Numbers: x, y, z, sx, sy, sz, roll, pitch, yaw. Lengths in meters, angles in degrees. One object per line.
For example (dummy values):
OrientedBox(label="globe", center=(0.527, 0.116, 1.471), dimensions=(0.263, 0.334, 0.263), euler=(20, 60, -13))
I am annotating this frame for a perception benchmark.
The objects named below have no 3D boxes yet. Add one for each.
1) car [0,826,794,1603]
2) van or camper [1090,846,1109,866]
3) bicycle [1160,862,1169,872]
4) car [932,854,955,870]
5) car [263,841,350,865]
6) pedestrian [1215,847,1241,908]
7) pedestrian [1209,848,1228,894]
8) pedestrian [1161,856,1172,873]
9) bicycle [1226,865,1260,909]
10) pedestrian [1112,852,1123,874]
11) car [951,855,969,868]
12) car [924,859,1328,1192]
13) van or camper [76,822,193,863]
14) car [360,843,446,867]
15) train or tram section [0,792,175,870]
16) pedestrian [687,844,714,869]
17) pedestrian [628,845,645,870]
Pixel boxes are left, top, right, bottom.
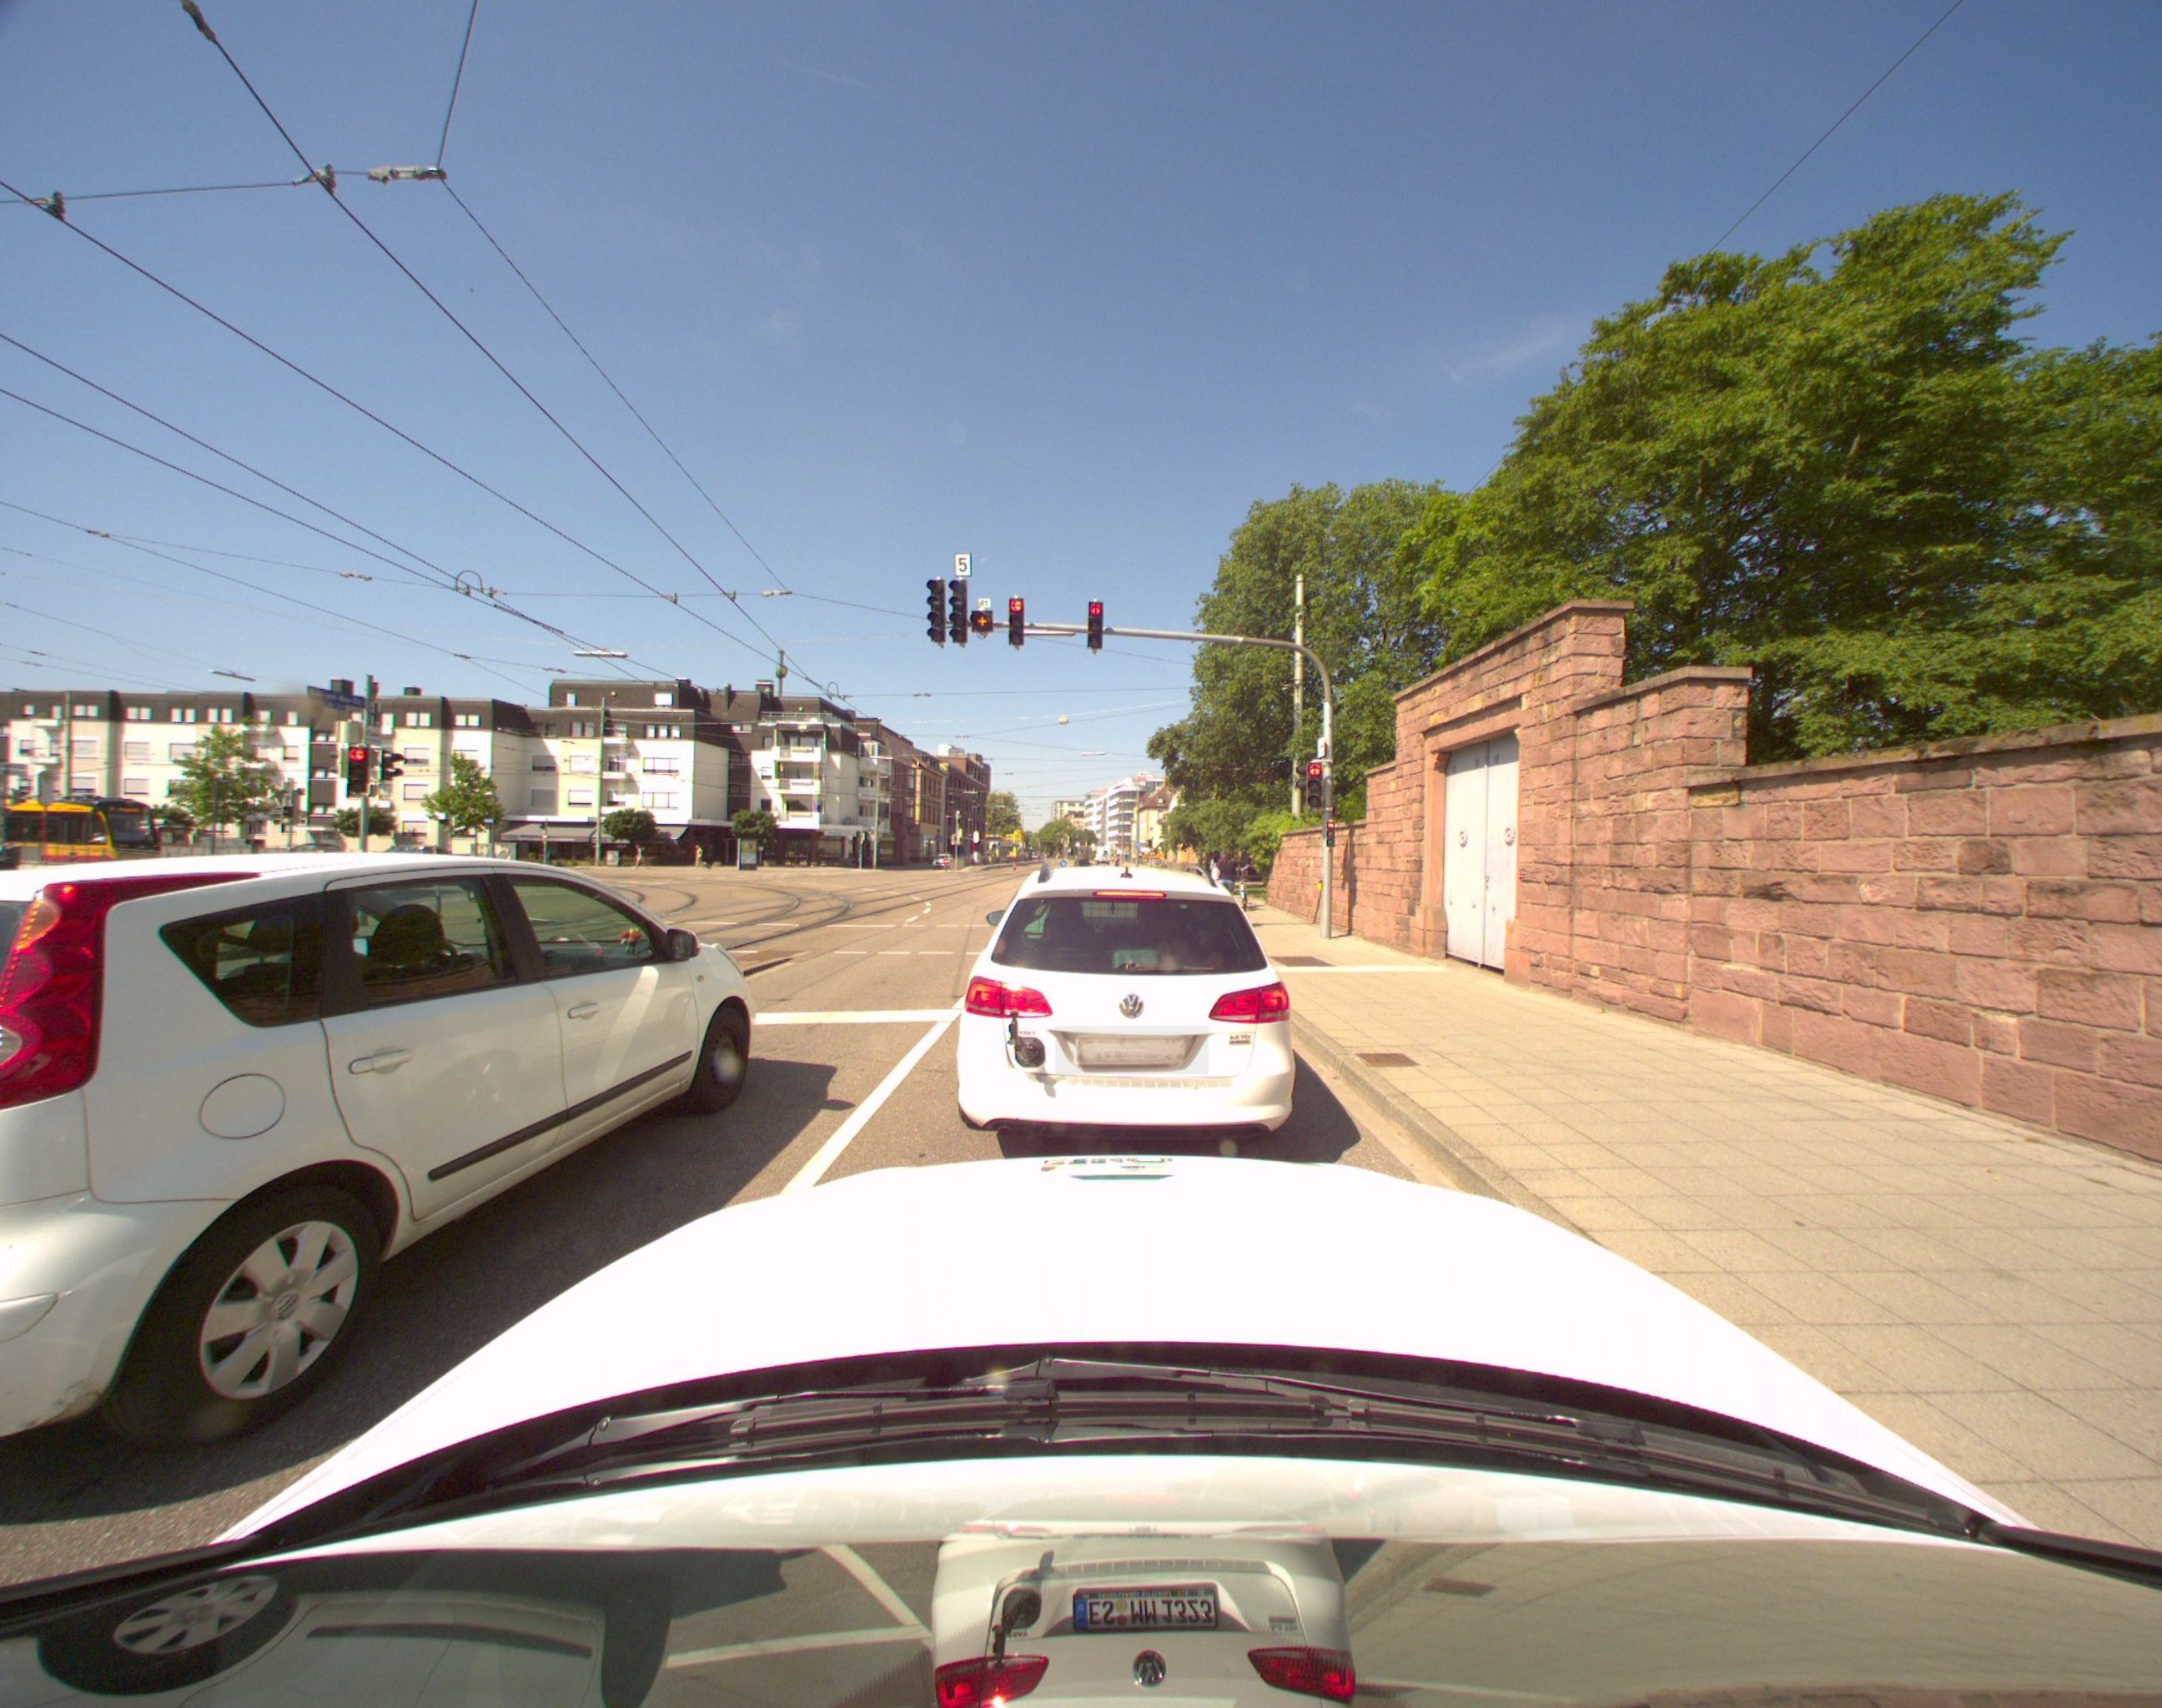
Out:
OrientedBox(label="car", center=(-2.961, 0.733, 3.687), dimensions=(1.759, 1.561, 4.068), euler=(0, 0, 2))
OrientedBox(label="van or camper", center=(3.161, 0.334, 133.911), dimensions=(2.932, 3.180, 6.617), euler=(1, 0, 2))
OrientedBox(label="bicycle", center=(9.256, 1.448, 90.415), dimensions=(0.720, 1.139, 2.203), euler=(1, 0, 14))
OrientedBox(label="car", center=(-13.629, 0.775, 80.906), dimensions=(1.620, 1.431, 3.962), euler=(2, 0, 0))
OrientedBox(label="car", center=(-51.221, -0.083, 53.920), dimensions=(3.973, 1.500, 1.828), euler=(1, 0, 0))
OrientedBox(label="pedestrian", center=(3.867, 0.610, 21.454), dimensions=(0.538, 1.549, 0.663), euler=(-1, 0, 1))
OrientedBox(label="pedestrian", center=(5.045, 0.615, 29.935), dimensions=(0.646, 1.682, 0.709), euler=(1, 0, 7))
OrientedBox(label="pedestrian", center=(7.974, 0.974, 76.055), dimensions=(0.850, 1.510, 0.784), euler=(1, 0, 13))
OrientedBox(label="bicycle", center=(4.274, 0.850, 21.581), dimensions=(0.534, 1.111, 1.806), euler=(0, -1, 0))
OrientedBox(label="pedestrian", center=(3.129, 0.769, 69.990), dimensions=(0.826, 1.809, 0.830), euler=(1, 0, 5))
OrientedBox(label="car", center=(-13.445, 0.798, 90.551), dimensions=(1.568, 1.459, 3.811), euler=(1, 0, -2))
OrientedBox(label="car", center=(0.259, 0.755, 5.480), dimensions=(1.746, 1.418, 3.854), euler=(1, 0, 2))
OrientedBox(label="van or camper", center=(-62.672, -0.754, 53.993), dimensions=(4.859, 2.624, 2.376), euler=(1, 0, 0))
OrientedBox(label="car", center=(-44.954, 0.063, 54.075), dimensions=(4.158, 1.500, 1.828), euler=(1, 0, 0))
OrientedBox(label="train or tram section", center=(-53.613, -1.168, 40.582), dimensions=(13.814, 3.658, 2.769), euler=(1, 0, 1))
OrientedBox(label="pedestrian", center=(-27.913, 0.205, 59.764), dimensions=(1.447, 1.836, 1.109), euler=(1, 0, -44))
OrientedBox(label="pedestrian", center=(-31.188, 0.235, 57.158), dimensions=(0.754, 1.760, 0.817), euler=(0, 0, 39))
